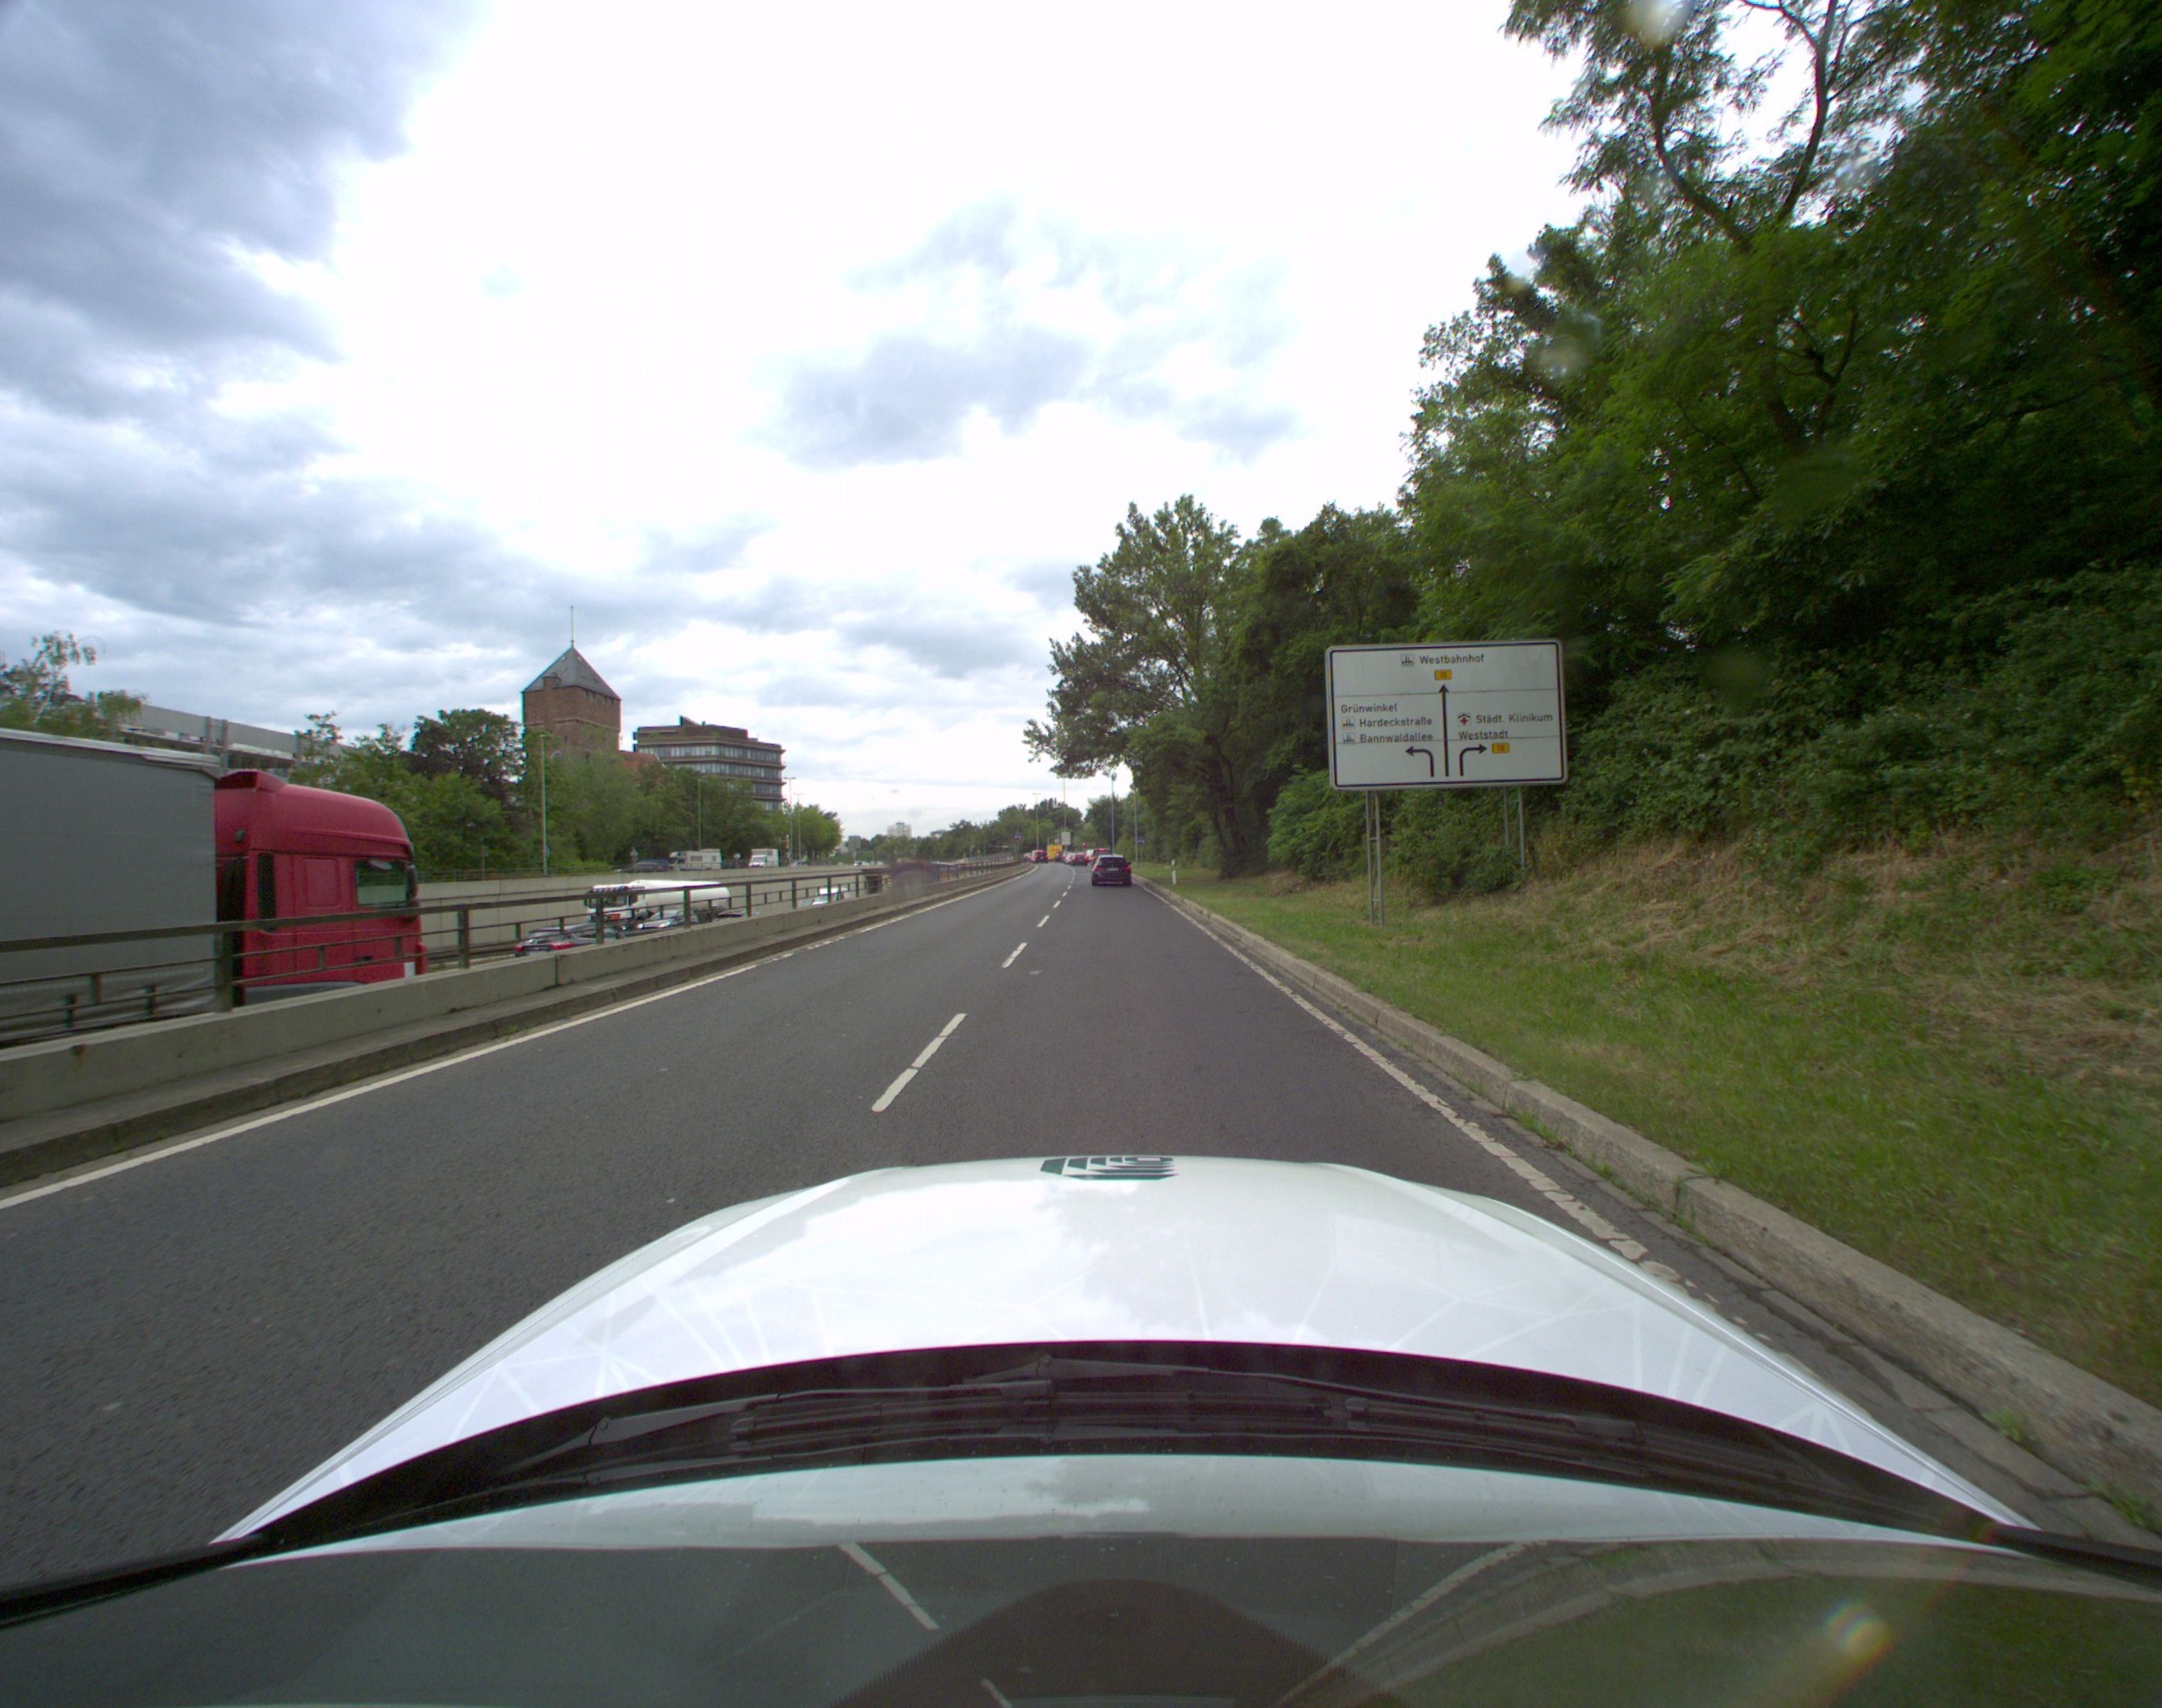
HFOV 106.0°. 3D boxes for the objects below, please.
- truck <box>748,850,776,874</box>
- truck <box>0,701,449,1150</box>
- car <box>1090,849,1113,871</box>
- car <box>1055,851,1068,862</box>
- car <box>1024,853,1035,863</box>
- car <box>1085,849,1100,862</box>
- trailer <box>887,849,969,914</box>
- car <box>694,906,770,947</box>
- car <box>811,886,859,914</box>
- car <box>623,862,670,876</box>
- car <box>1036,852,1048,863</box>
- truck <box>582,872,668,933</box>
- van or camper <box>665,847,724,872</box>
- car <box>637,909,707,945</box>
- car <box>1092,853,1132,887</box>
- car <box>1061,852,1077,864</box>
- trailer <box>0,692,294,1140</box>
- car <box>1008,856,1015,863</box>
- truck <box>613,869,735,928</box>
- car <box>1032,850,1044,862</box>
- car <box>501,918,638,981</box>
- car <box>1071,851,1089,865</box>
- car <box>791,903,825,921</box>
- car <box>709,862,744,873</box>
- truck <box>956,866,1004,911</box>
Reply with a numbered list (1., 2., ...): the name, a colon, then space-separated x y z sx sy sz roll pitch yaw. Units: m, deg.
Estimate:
1. truck: -41.799 1.034 106.825 2.016 2.987 7.073 0 -1 -10
2. truck: -11.005 0.696 9.173 2.695 4.037 6.205 -2 -1 2
3. car: 1.772 0.517 70.519 1.892 1.884 4.417 0 -1 2
4. car: -3.103 0.397 131.842 1.881 1.700 4.423 0 -1 -4
5. car: -9.052 0.670 142.828 1.621 1.701 4.287 0 -1 -6
6. car: 1.686 0.196 121.387 1.881 1.880 4.423 0 -1 -4
7. trailer: -10.820 1.856 59.701 2.842 4.037 16.002 -2 -1 0
8. car: -15.621 3.209 36.661 1.617 1.529 3.898 0 -1 2
9. car: -22.391 4.148 74.432 2.202 1.999 6.654 -3 0 0
10. car: -45.944 1.564 86.191 1.608 1.441 4.025 -1 -1 40
11. car: -6.153 0.520 126.794 1.621 1.701 4.287 0 -1 -6
12. truck: -26.442 2.748 47.427 2.517 3.220 4.317 -2 -1 -1
13. van or camper: -46.405 0.659 97.850 5.958 2.810 2.120 0 -1 -44
14. car: -22.004 3.895 43.952 1.617 1.552 3.954 -2 0 2
15. car: 1.392 0.688 38.333 1.742 1.426 4.462 -1 1 1
16. car: -1.577 0.552 109.503 1.881 1.592 4.423 0 -1 -4
17. trailer: -11.229 0.548 2.722 2.641 4.037 14.559 -2 -1 2
18. car: -17.639 1.330 206.664 1.620 1.701 4.290 0 -1 -4
19. truck: -26.472 2.742 53.804 2.517 3.352 11.046 -2 -1 -1
20. car: -7.202 0.293 134.872 1.881 1.987 4.423 0 -1 -4
21. car: -15.674 2.879 25.217 1.649 1.529 3.899 0 -1 3
22. car: -0.155 0.433 95.329 1.881 1.592 4.423 0 -1 -4
23. car: -27.029 5.749 80.850 1.743 1.426 4.680 -2 0 0
24. car: -47.045 1.746 108.192 1.608 1.441 4.025 -1 -1 40
25. truck: -10.187 3.346 84.213 2.842 4.037 15.574 -2 -1 0
